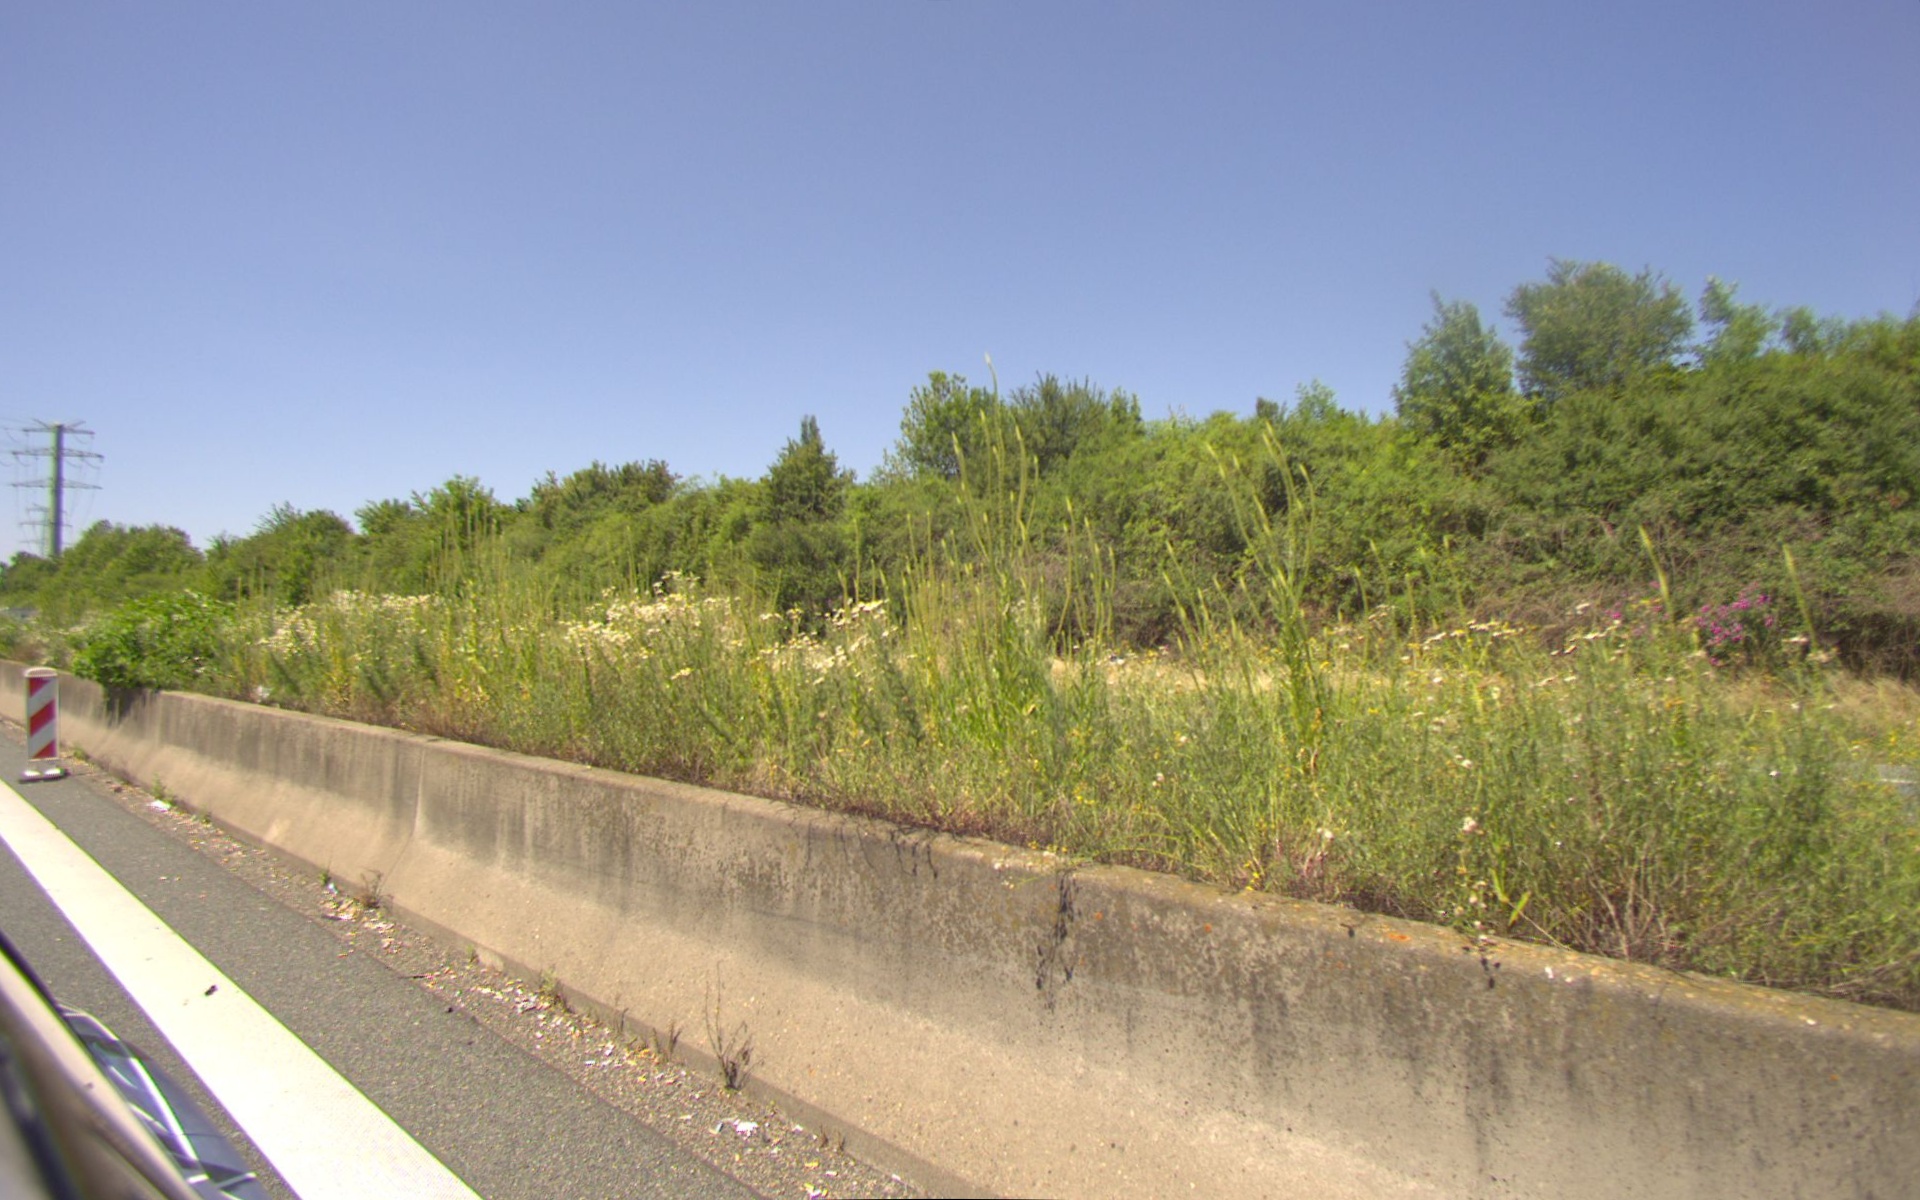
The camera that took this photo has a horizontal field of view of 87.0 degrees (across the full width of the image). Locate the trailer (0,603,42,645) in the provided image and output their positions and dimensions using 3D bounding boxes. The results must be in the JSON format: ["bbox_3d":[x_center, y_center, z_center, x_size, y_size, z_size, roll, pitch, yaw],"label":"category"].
[{"bbox_3d":[-103.556,2.675,110.620,14.014,4.199,2.985,-2,-5,41],"label":"trailer"}]
